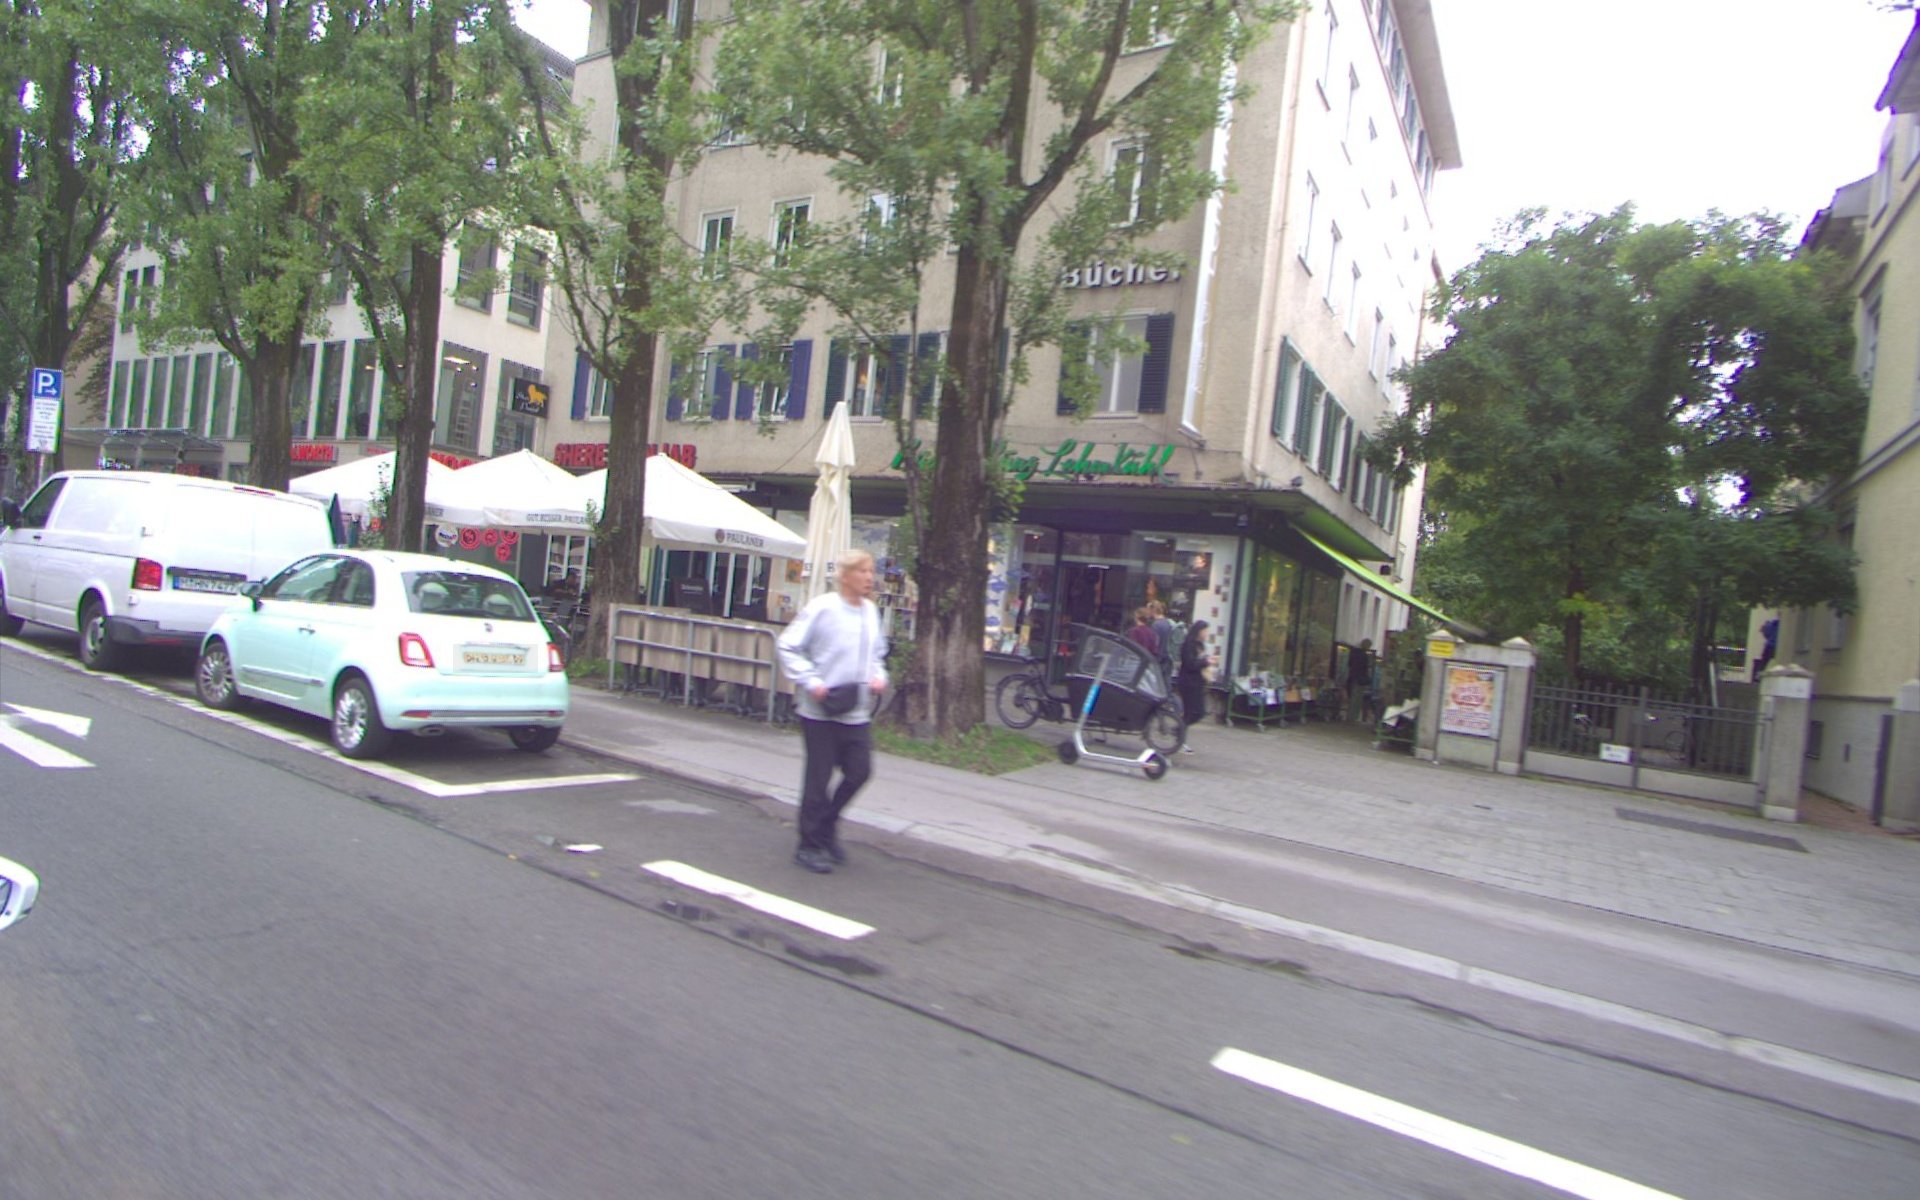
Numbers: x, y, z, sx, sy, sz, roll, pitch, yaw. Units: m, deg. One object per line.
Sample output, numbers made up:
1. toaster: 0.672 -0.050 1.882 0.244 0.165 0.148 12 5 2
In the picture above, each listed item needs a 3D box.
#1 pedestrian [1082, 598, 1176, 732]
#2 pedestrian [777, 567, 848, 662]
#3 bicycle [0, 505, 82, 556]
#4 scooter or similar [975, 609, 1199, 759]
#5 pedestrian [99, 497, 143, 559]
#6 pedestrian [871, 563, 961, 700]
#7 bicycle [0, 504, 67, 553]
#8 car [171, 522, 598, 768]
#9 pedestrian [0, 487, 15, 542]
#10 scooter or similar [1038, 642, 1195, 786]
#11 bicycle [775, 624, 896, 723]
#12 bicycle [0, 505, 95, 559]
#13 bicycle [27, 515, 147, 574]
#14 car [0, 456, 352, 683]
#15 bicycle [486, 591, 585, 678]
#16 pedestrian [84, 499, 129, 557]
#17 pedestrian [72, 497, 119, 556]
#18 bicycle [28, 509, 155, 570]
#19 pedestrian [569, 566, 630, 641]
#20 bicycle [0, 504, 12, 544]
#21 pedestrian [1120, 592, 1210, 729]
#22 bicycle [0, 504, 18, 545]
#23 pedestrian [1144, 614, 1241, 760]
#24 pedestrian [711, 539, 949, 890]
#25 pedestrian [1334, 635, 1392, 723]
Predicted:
1. pedestrian: 2.335 0.889 13.858 0.862 1.698 0.798 7 0 32
2. pedestrian: -2.828 0.294 19.319 0.862 1.698 0.799 7 0 30
3. bicycle: -25.989 -1.958 27.976 0.616 1.219 2.230 7 0 30
4. scooter or similar: 1.483 0.952 12.047 2.451 1.394 0.637 8 2 28
5. pedestrian: -24.698 -2.108 29.609 0.745 1.707 0.674 6 1 27
6. pedestrian: -0.638 0.472 14.842 0.735 1.888 0.957 7 0 31
7. bicycle: -26.907 -2.063 28.507 0.616 1.219 2.230 7 0 30
8. car: -4.862 0.297 8.396 3.465 1.510 1.543 6 -1 33
9. pedestrian: -33.538 -3.005 34.842 0.871 1.848 0.722 6 -1 22
10. scooter or similar: 1.553 1.108 10.089 1.419 1.231 0.327 6 2 28
11. bicycle: -1.507 0.864 12.070 1.429 1.009 0.349 6 2 28
12. bicycle: -25.088 -1.858 27.362 0.616 1.219 2.230 7 0 30
13. bicycle: -20.556 -1.289 23.734 0.616 1.147 1.998 7 0 30
14. car: -8.951 -0.394 11.073 4.652 1.969 1.790 7 0 32
15. bicycle: -5.755 0.452 13.601 1.429 1.009 0.349 6 2 28
16. pedestrian: -29.914 -2.524 35.257 0.871 1.848 0.722 6 -1 22
17. pedestrian: -29.148 -2.481 33.931 0.871 1.848 0.722 6 -1 22
18. bicycle: -21.362 -1.464 24.800 0.616 1.219 2.230 7 0 30
19. pedestrian: -7.020 0.070 19.586 0.787 1.340 0.639 7 1 31
20. bicycle: -30.528 -2.457 30.648 0.616 1.219 2.230 7 0 30
21. pedestrian: 2.943 0.864 14.429 0.862 1.818 0.772 7 1 32
22. bicycle: -29.888 -2.392 30.176 0.616 1.219 2.230 7 0 30
23. pedestrian: 2.815 1.032 12.185 0.855 1.627 0.617 7 2 29
24. pedestrian: -0.741 0.615 5.822 0.856 1.795 0.828 7 1 33
25. pedestrian: 8.222 1.606 20.521 0.788 1.668 0.828 7 0 33
